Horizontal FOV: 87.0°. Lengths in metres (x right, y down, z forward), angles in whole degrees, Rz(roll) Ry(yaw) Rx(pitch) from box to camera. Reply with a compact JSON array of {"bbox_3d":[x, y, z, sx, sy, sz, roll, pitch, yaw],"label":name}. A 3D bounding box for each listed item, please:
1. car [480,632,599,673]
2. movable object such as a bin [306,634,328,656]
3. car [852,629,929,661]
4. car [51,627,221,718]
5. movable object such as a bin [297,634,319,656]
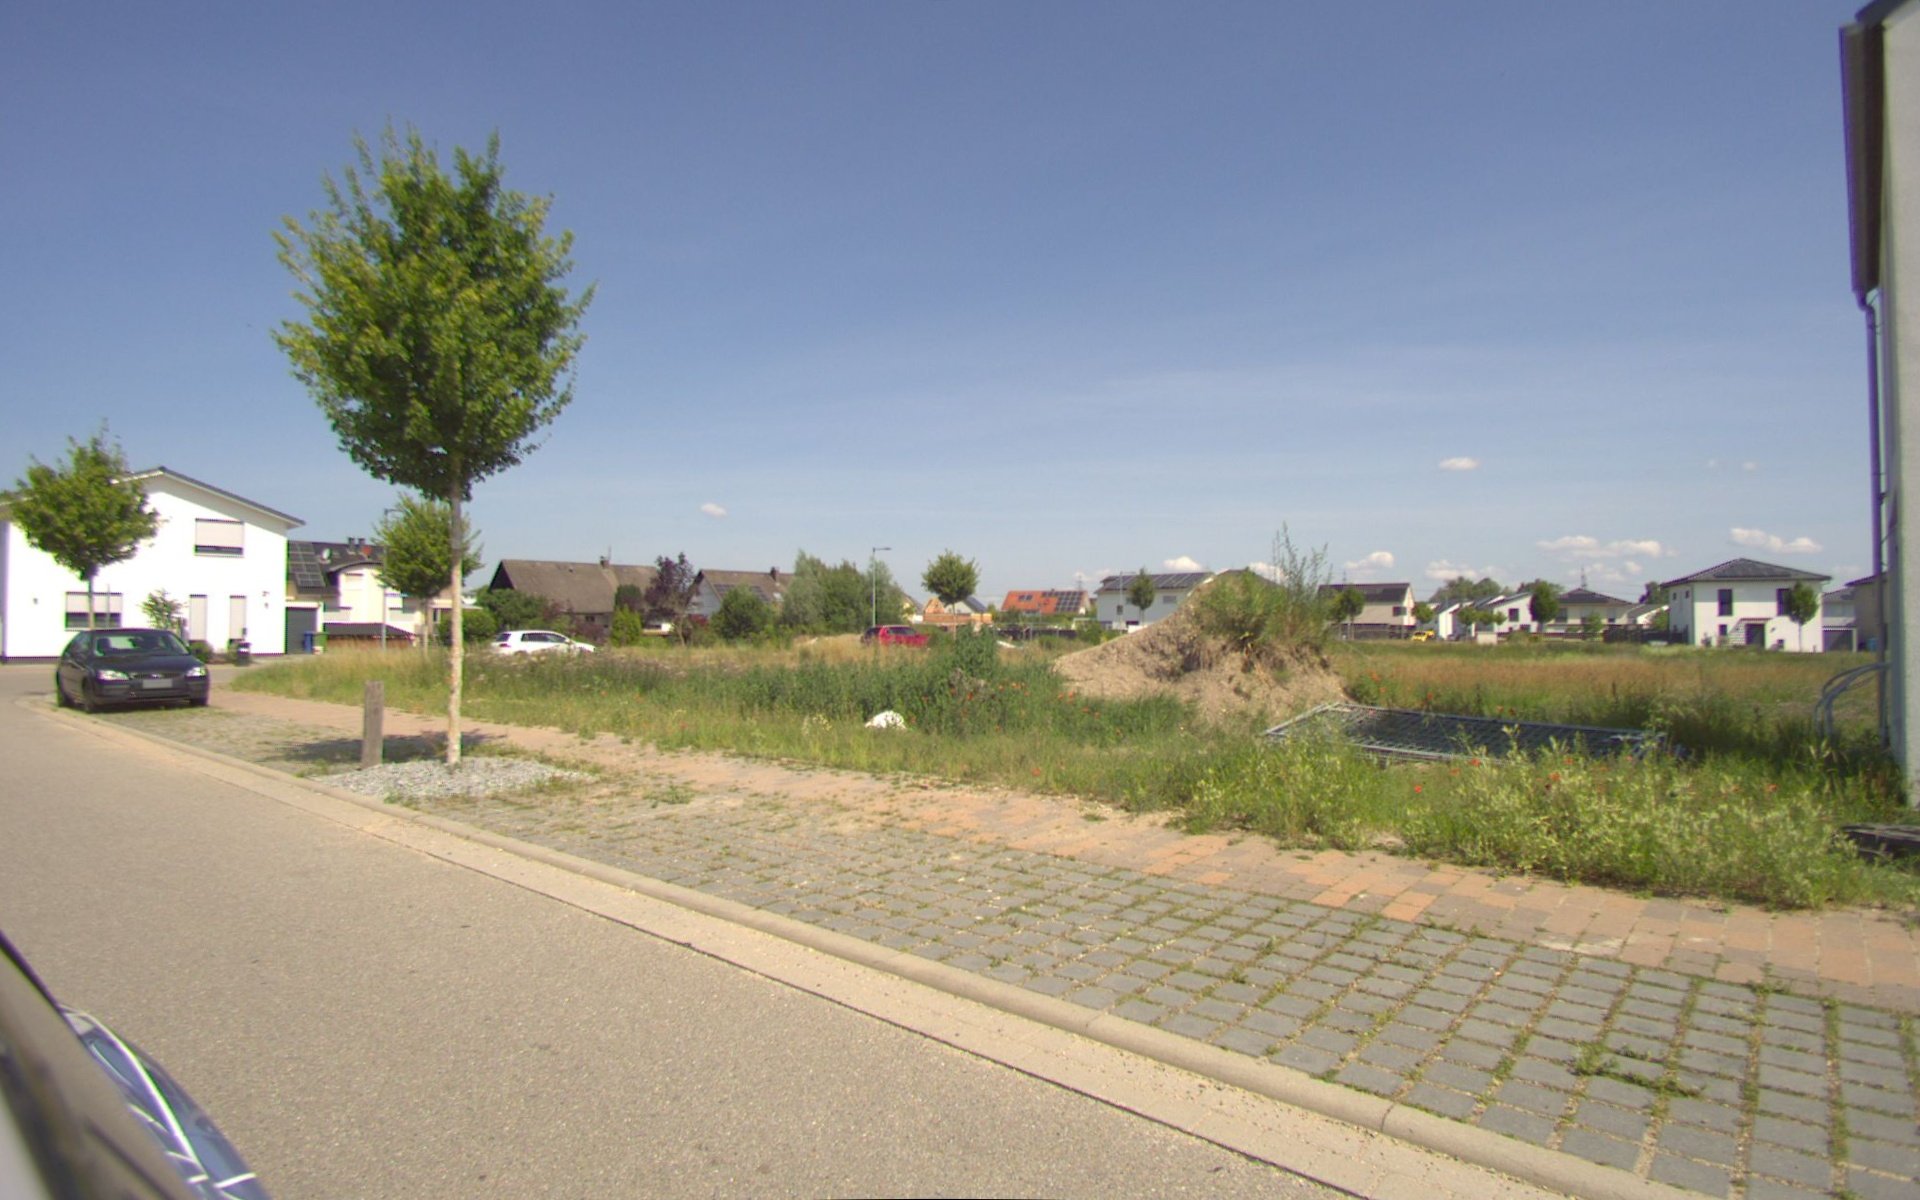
[{"bbox_3d":[-16.591,2.045,40.045,3.940,1.514,1.811,2,-3,-44],"label":"car"},{"bbox_3d":[-30.274,2.114,47.648,0.741,1.012,0.676,-2,-3,43],"label":"movable object such as a bin"},{"bbox_3d":[-3.651,2.386,53.871,1.809,1.628,3.944,-2,-3,42],"label":"car"},{"bbox_3d":[-15.394,1.272,18.833,4.142,1.465,1.793,-2,-1,41],"label":"car"},{"bbox_3d":[-30.978,2.123,48.090,0.741,1.012,0.676,-2,-3,43],"label":"movable object such as a bin"}]
